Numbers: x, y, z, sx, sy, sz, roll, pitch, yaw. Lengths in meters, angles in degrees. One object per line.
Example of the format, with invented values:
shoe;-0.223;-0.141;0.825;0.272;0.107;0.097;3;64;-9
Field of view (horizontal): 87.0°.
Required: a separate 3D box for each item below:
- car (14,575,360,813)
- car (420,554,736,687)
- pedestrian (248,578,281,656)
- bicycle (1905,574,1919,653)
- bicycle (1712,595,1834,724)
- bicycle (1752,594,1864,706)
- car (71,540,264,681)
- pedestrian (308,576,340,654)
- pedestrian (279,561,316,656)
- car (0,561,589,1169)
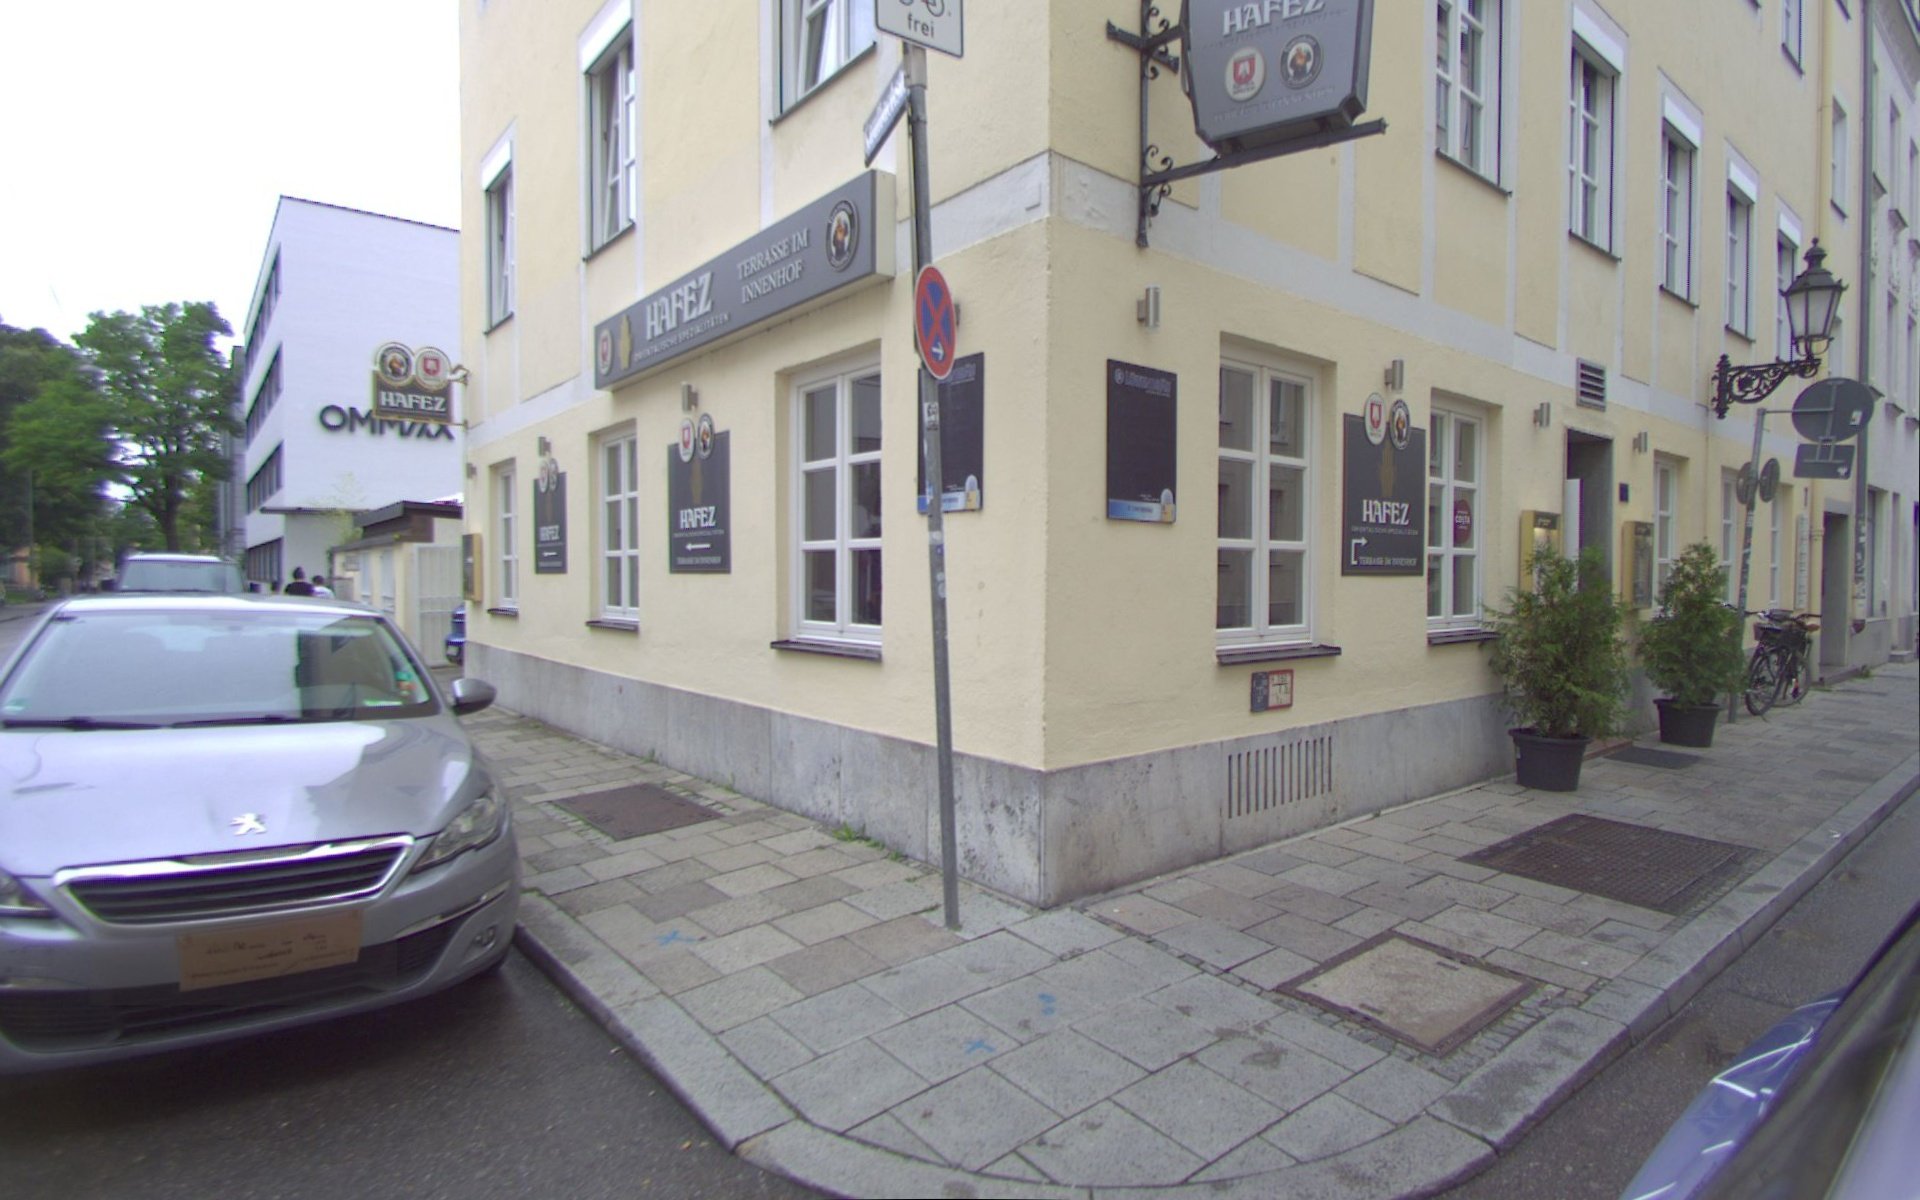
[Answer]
car;-6.146;0.556;8.191;1.732;1.405;4.197;2;-1;-37
car;-5.445;0.227;14.650;3.928;1.671;1.807;-1;1;-39
pedestrian;-12.739;0.295;18.524;0.481;1.385;0.518;0;2;-36
bicycle;18.128;0.245;18.587;2.082;1.413;0.715;-1;4;-37
bicycle;8.159;0.548;10.135;1.653;1.150;0.567;-1;3;-39
bicycle;9.759;0.526;11.622;1.952;1.150;0.567;-1;3;-39
car;-12.312;0.140;15.921;2.052;1.869;4.718;2;-1;-36
pedestrian;-12.065;0.276;19.194;0.481;1.439;0.518;0;2;-36
pedestrian;-12.103;0.141;18.483;0.548;1.705;0.518;0;2;-36
car;-3.115;0.630;4.345;1.732;1.459;4.026;2;-1;-37
